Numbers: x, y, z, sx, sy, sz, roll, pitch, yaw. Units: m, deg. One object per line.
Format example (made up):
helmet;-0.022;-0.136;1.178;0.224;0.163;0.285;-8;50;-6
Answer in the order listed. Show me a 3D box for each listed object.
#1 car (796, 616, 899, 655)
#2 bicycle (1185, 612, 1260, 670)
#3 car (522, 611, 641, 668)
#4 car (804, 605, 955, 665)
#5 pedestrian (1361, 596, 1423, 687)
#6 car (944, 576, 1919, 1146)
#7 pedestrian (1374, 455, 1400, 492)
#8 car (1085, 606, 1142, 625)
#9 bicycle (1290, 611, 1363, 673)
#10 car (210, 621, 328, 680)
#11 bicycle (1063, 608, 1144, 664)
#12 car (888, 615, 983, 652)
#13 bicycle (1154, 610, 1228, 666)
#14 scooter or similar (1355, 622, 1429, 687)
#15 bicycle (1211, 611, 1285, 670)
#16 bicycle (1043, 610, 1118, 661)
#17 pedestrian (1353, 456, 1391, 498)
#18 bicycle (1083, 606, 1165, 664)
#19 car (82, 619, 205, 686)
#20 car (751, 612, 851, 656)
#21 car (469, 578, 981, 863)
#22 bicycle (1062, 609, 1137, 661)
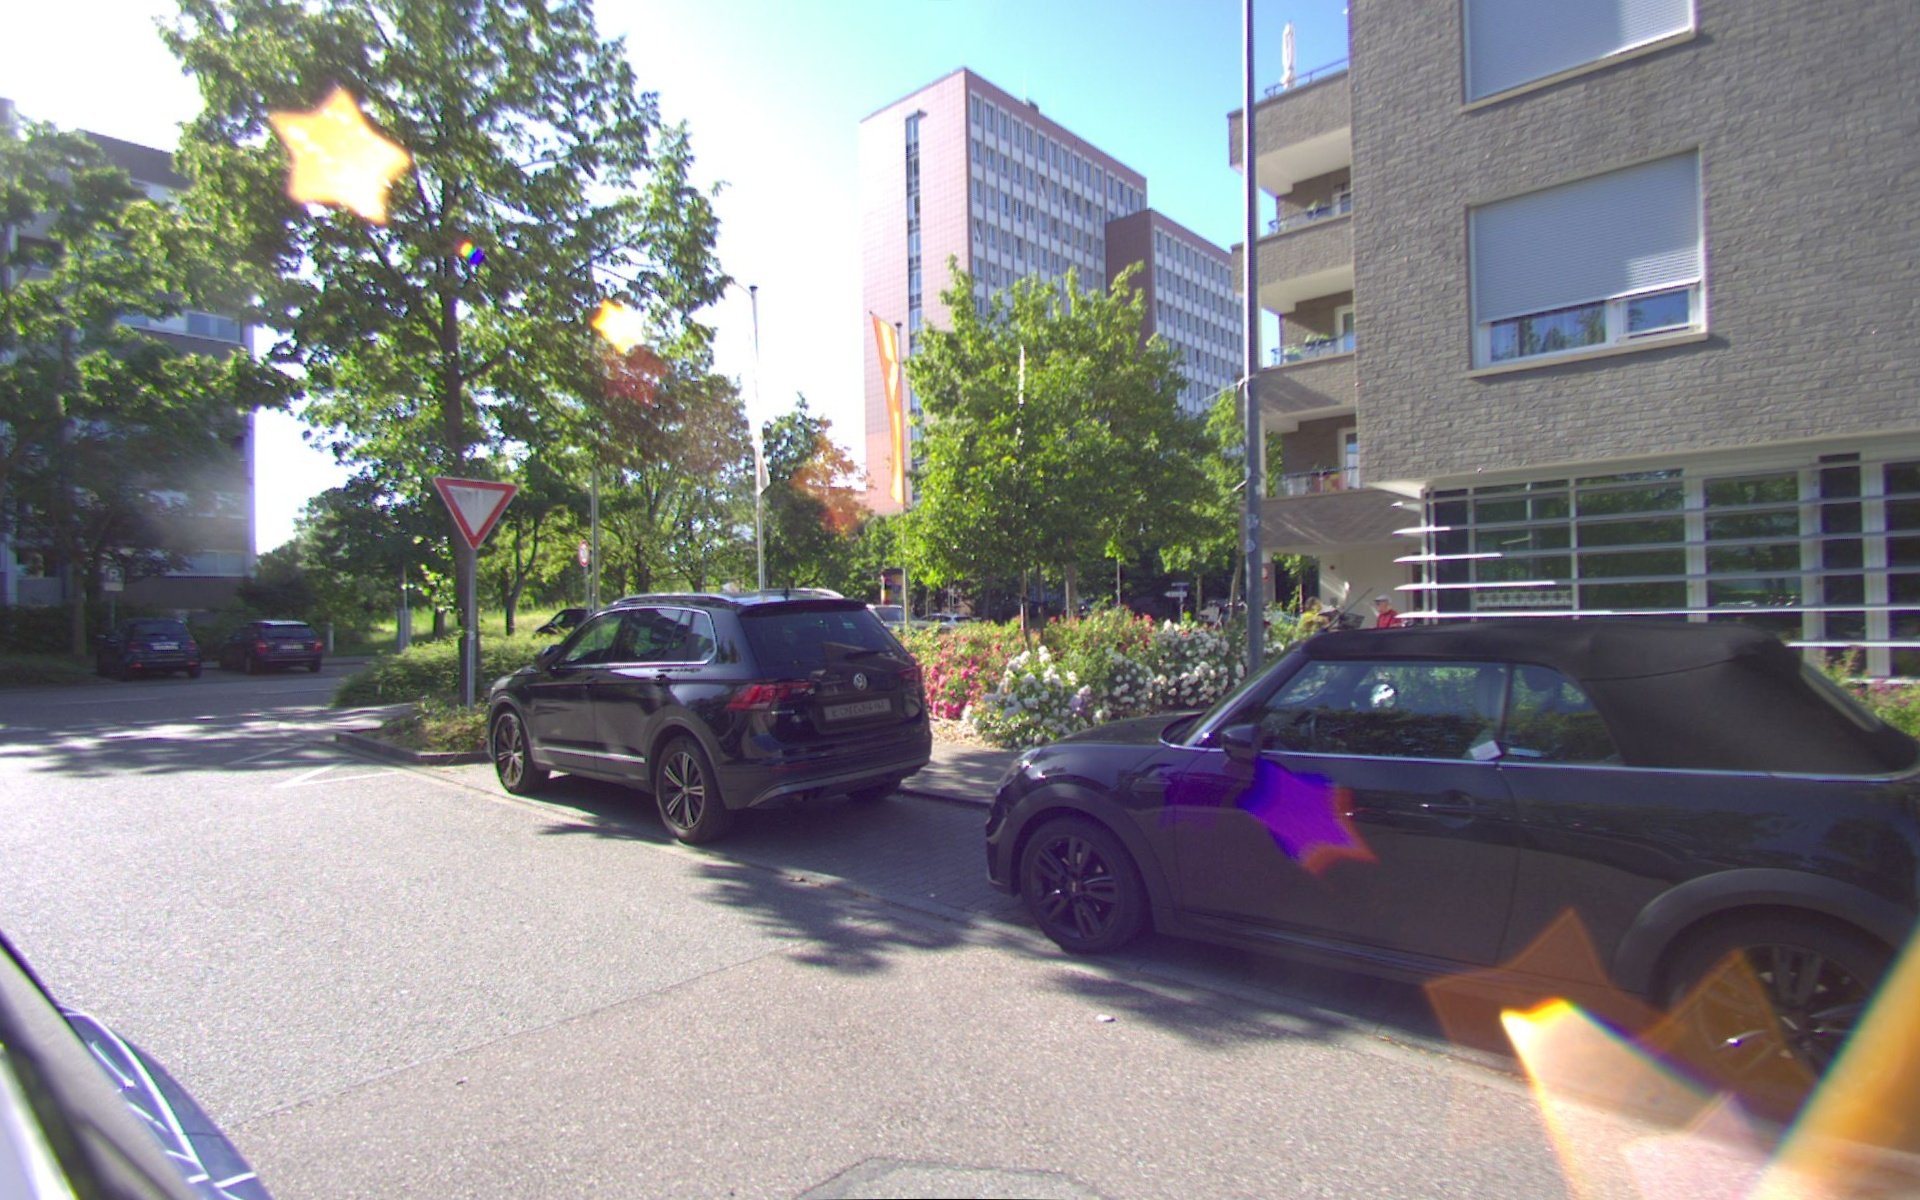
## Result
car;-4.870;1.540;43.472;4.452;1.557;1.793;-3;-2;39
bicycle;5.106;0.766;19.611;0.438;1.055;2.163;-4;-3;41
car;-13.005;1.279;34.641;4.601;1.792;1.972;0;0;42
car;-2.272;0.994;27.903;4.206;1.531;1.747;-4;-3;43
pedestrian;6.724;0.639;15.751;0.670;1.371;0.734;-2;-1;43
car;1.885;0.734;4.248;3.786;1.515;1.563;-2;-2;39
pedestrian;9.089;-2.681;21.548;0.415;0.691;0.423;-3;-2;33
car;13.849;1.420;91.464;4.725;1.699;1.851;-2;-2;38
bicycle;6.649;0.738;18.303;0.438;1.055;2.163;-4;-3;41
car;-19.132;1.338;27.969;3.999;1.397;1.797;1;0;42
bicycle;2.847;0.689;19.923;0.438;1.055;2.163;-4;-3;41
car;-1.191;1.562;48.224;4.437;1.605;1.812;0;0;39
bicycle;4.674;0.742;20.369;0.438;1.055;2.163;-4;-3;41
scooter or similar;6.712;0.837;15.733;0.805;0.961;0.856;-4;-3;40
bicycle;5.503;0.752;19.248;0.438;1.055;2.163;-4;-3;41
bicycle;2.660;0.765;22.118;0.438;1.055;2.163;-4;-3;41
pedestrian;9.116;-2.720;22.404;0.682;0.804;0.359;-3;-2;35
bicycle;3.202;0.657;19.577;0.438;1.055;2.163;-4;-3;41
car;-20.926;1.277;25.893;3.817;1.510;1.679;0;0;39
car;-6.402;1.318;40.546;4.128;1.630;1.710;0;0;40
car;-2.063;0.711;7.986;4.339;1.632;1.866;-1;-1;43
bicycle;3.023;0.744;21.799;0.438;1.055;2.163;-4;-3;41
